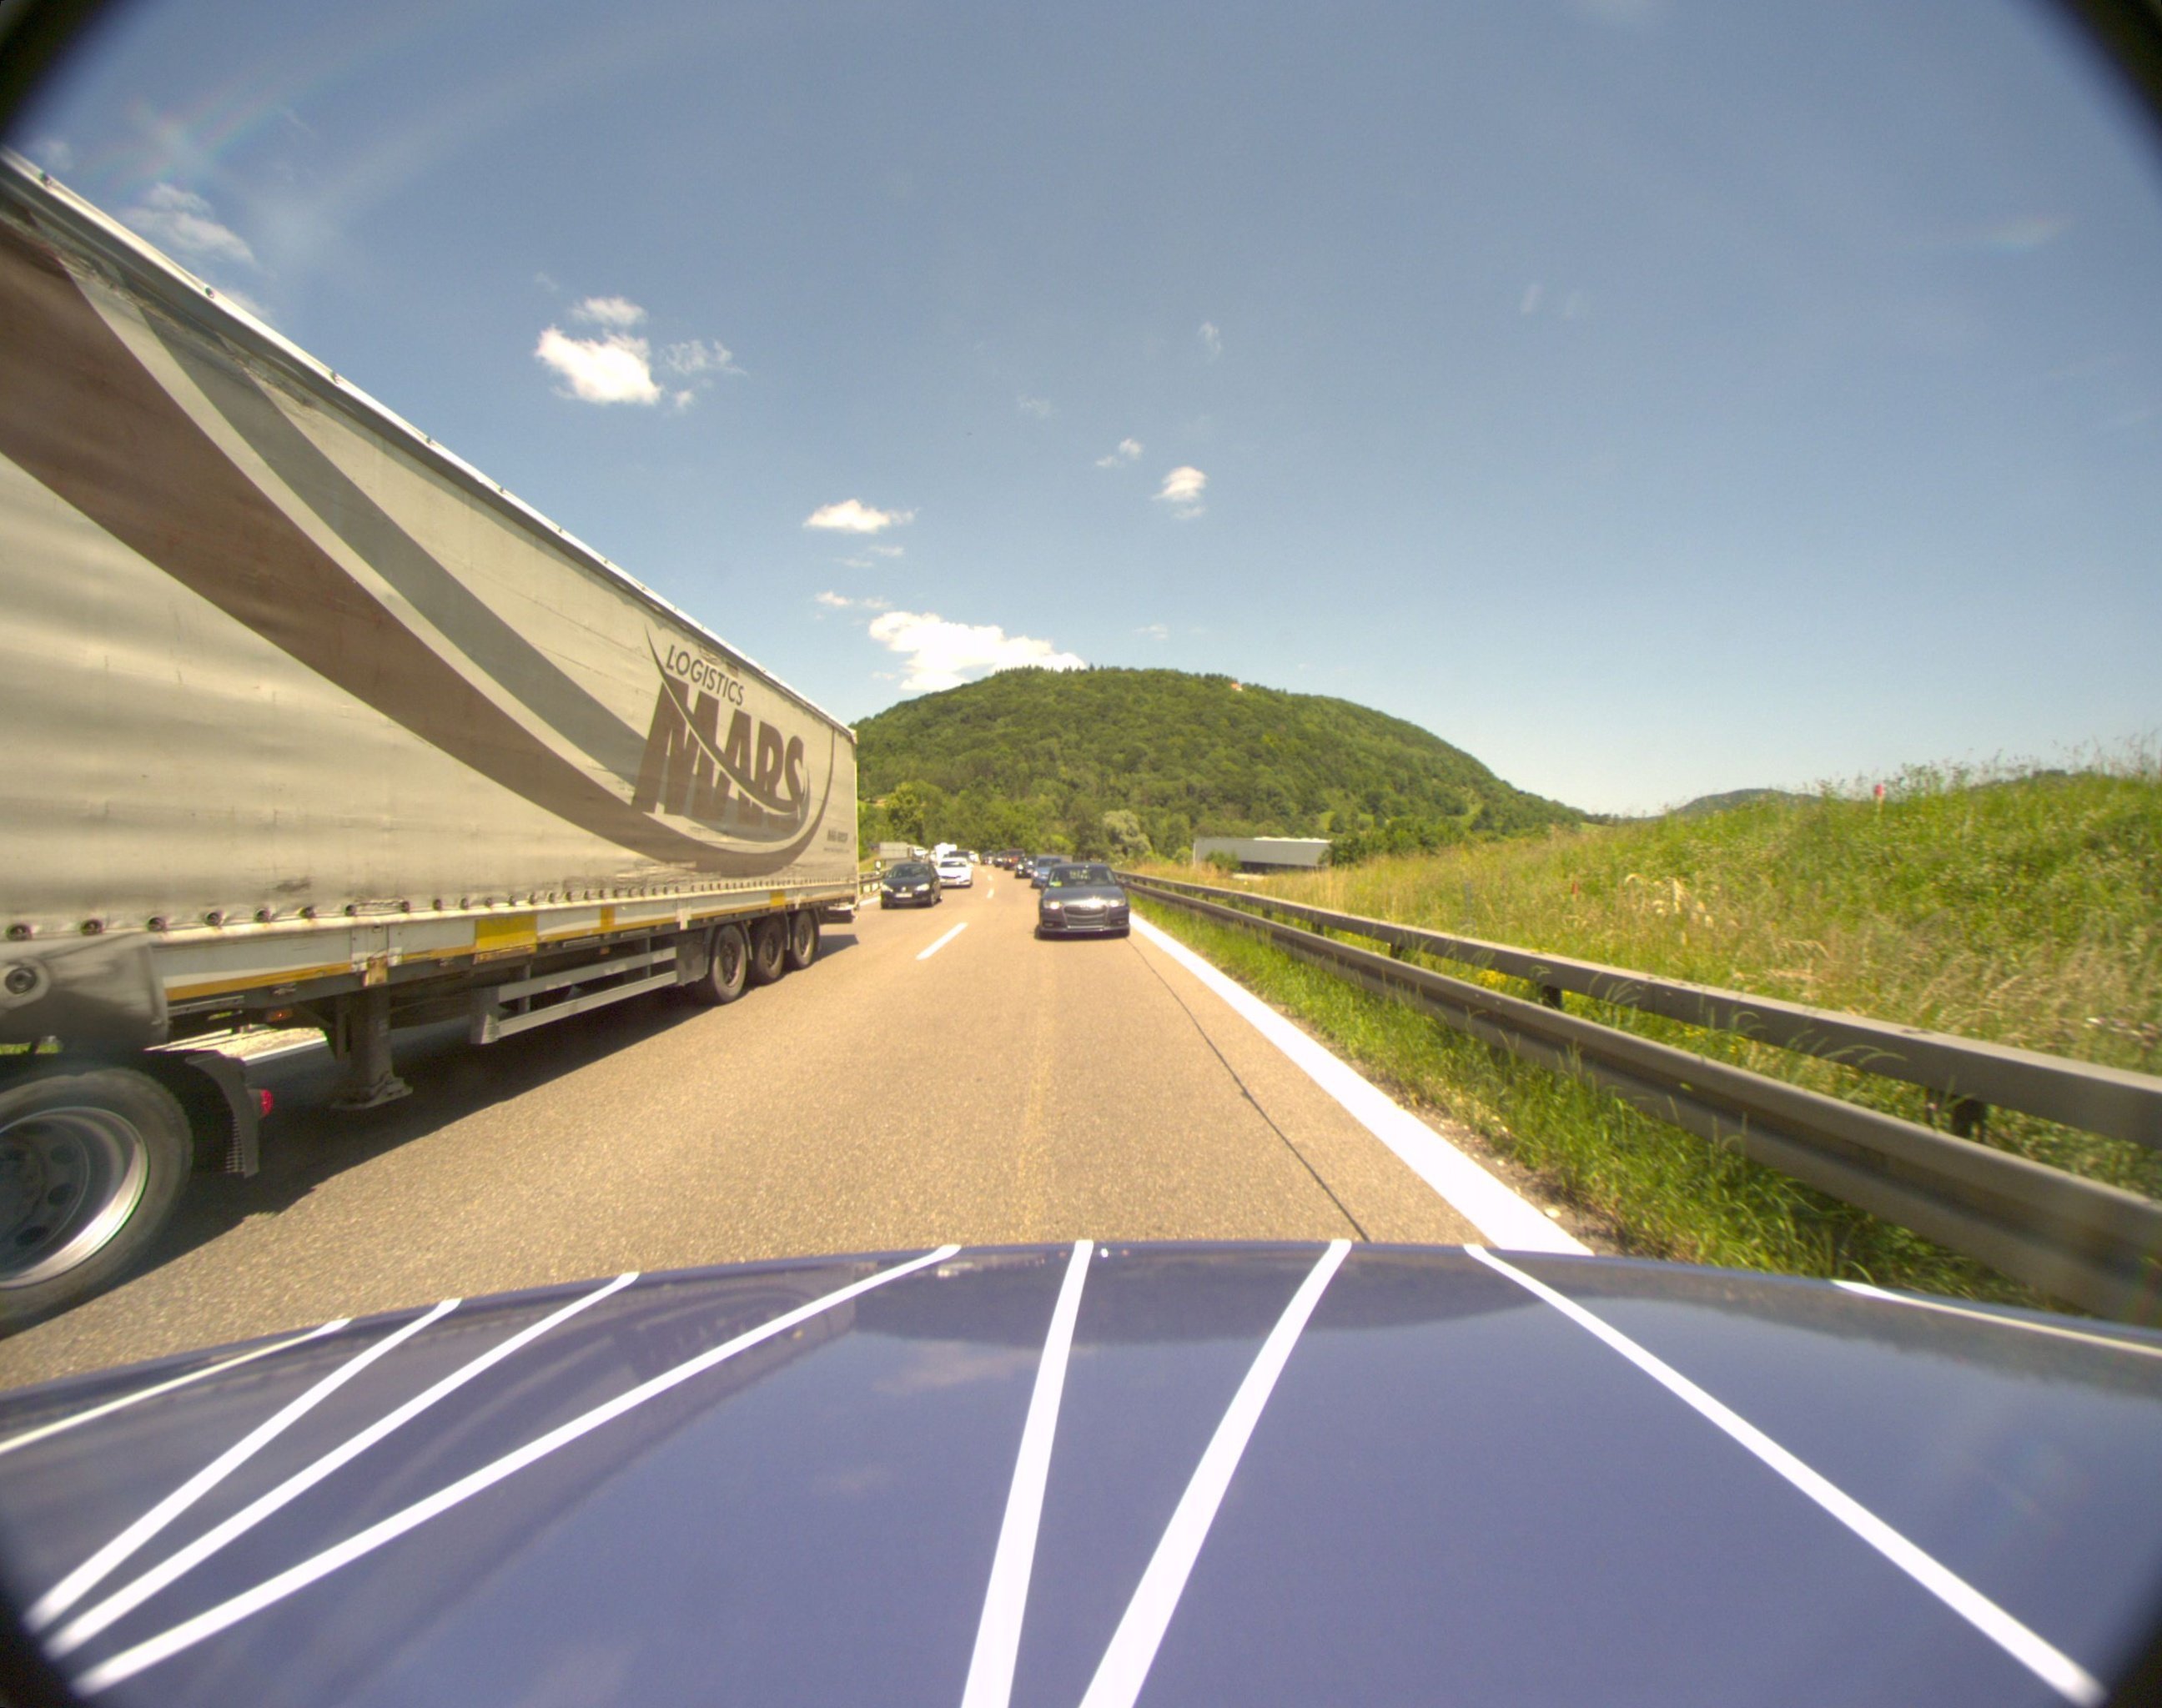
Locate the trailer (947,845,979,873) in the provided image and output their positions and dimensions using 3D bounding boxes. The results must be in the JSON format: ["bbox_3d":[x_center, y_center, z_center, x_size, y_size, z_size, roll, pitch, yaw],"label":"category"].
[{"bbox_3d":[-8.875,0.351,57.403,1.999,1.958,3.997,-2,1,-5],"label":"trailer"}]

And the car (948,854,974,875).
[{"bbox_3d":[-8.427,0.696,53.576,1.489,1.375,3.736,-2,0,-5],"label":"car"}]

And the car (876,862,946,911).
[{"bbox_3d":[-5.596,1.016,25.430,1.696,1.414,3.837,-2,0,-4],"label":"car"}]

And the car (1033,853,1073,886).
[{"bbox_3d":[-1.359,0.687,35.474,1.696,1.422,3.461,-2,0,-4],"label":"car"}]

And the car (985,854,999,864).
[{"bbox_3d":[-10.709,0.616,91.145,1.492,1.102,3.211,-2,1,-10],"label":"car"}]

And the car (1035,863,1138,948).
[{"bbox_3d":[-0.024,0.923,15.338,1.756,1.382,4.053,-2,0,-4],"label":"car"}]

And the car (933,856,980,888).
[{"bbox_3d":[-6.089,0.849,37.553,1.908,1.422,3.720,-2,0,-4],"label":"car"}]

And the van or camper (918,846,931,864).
[{"bbox_3d":[-27.833,0.208,135.001,1.911,3.010,4.868,-1,0,-14],"label":"van or camper"}]

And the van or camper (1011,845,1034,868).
[{"bbox_3d":[-5.001,0.226,64.736,1.818,1.855,3.611,-2,0,-6],"label":"van or camper"}]

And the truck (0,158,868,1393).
[{"bbox_3d":[-5.102,-0.295,7.205,2.733,4.044,13.736,-1,1,-2],"label":"truck"}]

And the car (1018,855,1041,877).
[{"bbox_3d":[-3.307,0.735,48.220,1.287,1.305,3.451,-2,0,-6],"label":"car"}]

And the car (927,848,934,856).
[{"bbox_3d":[-30.337,-0.437,153.408,1.246,1.470,2.958,-4,0,-11],"label":"car"}]

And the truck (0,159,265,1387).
[{"bbox_3d":[-4.824,-0.243,0.311,2.726,4.044,5.752,-1,1,-2],"label":"truck"}]

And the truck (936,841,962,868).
[{"bbox_3d":[-16.336,0.051,93.819,2.605,3.089,6.851,-4,0,-12],"label":"truck"}]

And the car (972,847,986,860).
[{"bbox_3d":[-14.472,-0.081,107.522,1.532,1.627,3.415,-4,0,-13],"label":"car"}]

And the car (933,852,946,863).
[{"bbox_3d":[-21.150,0.482,113.468,1.700,1.523,3.677,-4,0,-11],"label":"car"}]

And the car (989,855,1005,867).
[{"bbox_3d":[-8.441,0.695,76.176,1.492,1.102,3.212,-2,1,-7],"label":"car"}]
